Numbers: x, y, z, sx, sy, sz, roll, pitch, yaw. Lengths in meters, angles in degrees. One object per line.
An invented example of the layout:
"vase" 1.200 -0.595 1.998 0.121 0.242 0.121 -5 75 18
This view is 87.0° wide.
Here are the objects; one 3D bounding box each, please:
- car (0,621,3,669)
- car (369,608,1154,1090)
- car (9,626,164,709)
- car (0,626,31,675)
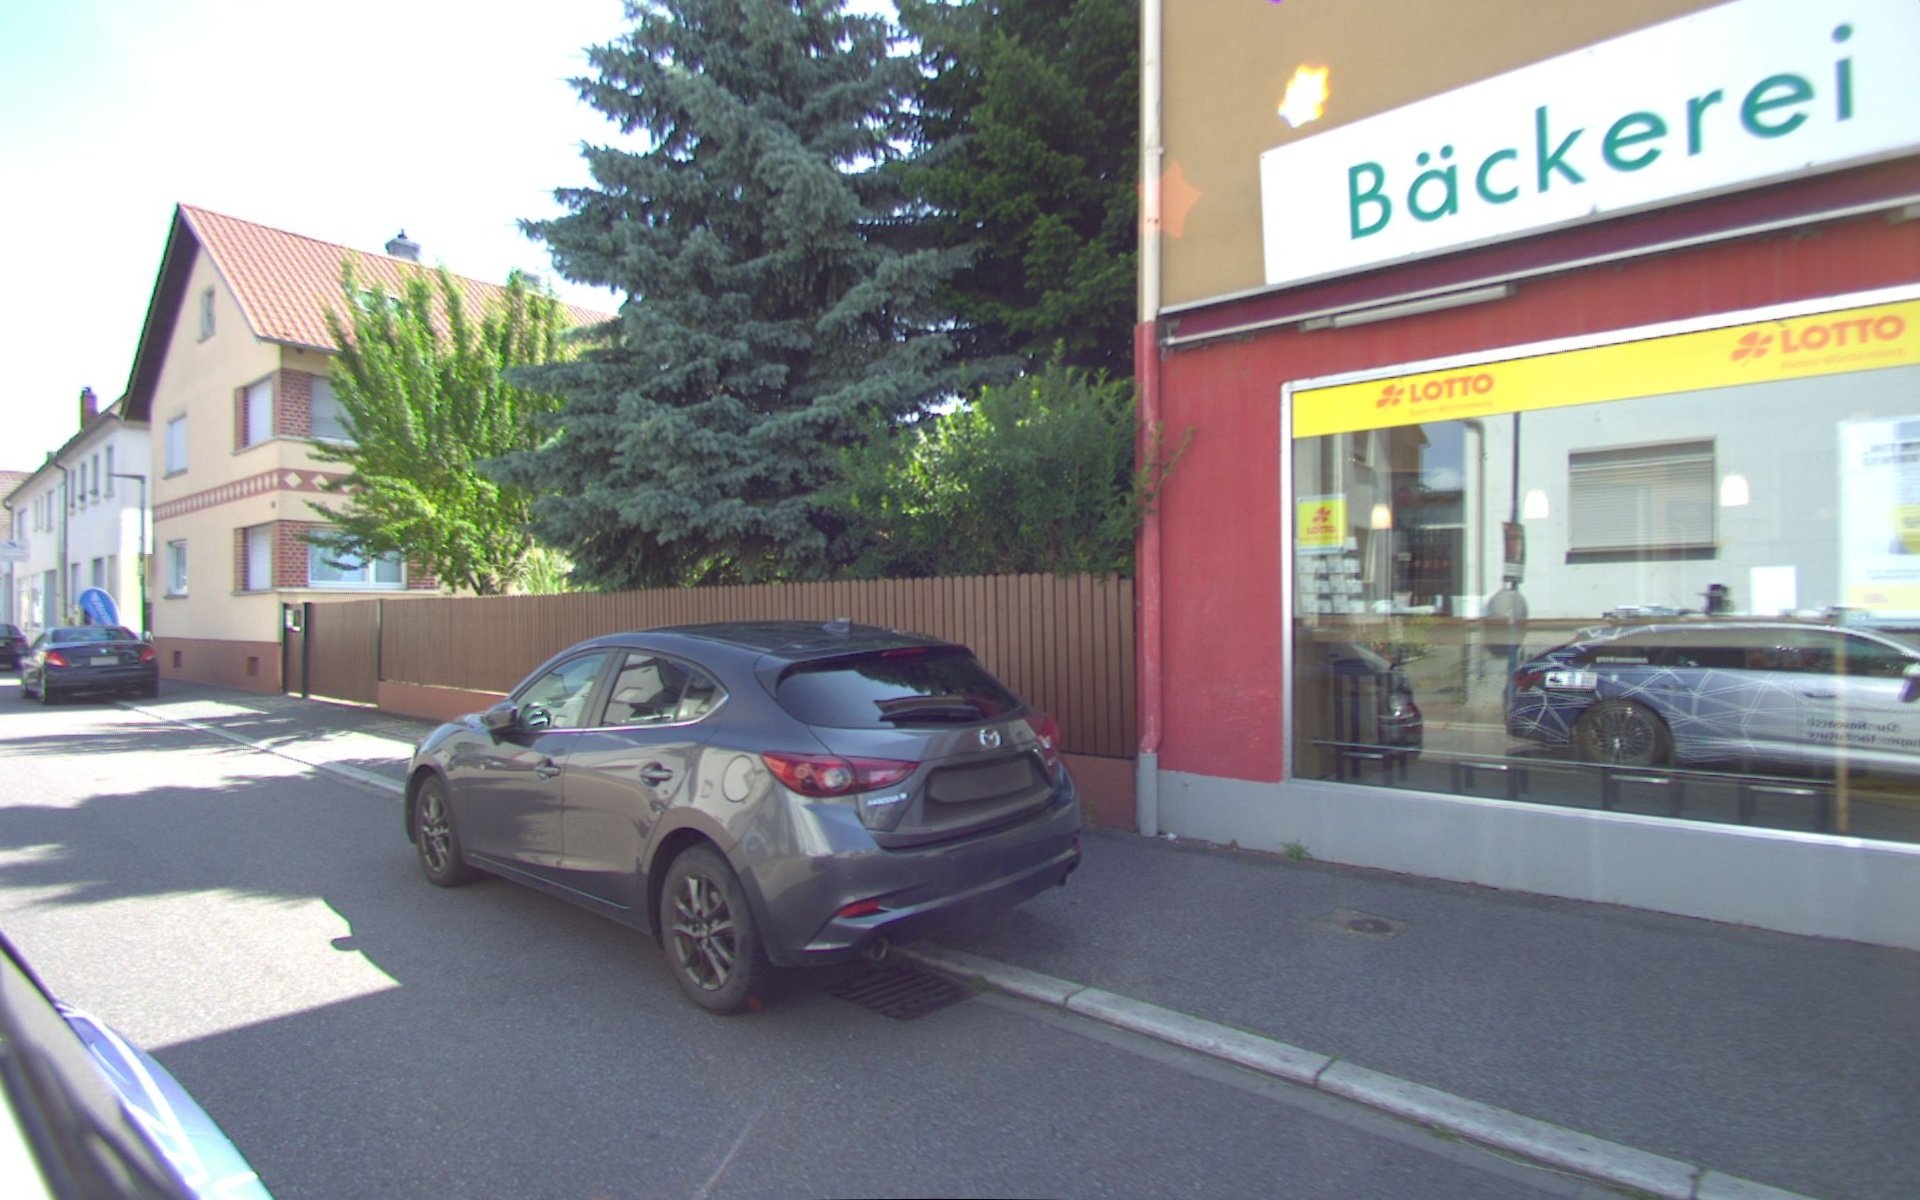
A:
"car" -35.346 1.566 35.832 4.146 1.652 1.699 -1 -3 41
"car" -1.374 0.806 5.268 4.436 1.471 1.749 -1 -1 43
"car" -16.844 1.214 19.447 4.065 1.384 1.743 -1 0 42
"car" -30.204 1.550 31.399 4.389 1.422 1.679 -1 -1 42
